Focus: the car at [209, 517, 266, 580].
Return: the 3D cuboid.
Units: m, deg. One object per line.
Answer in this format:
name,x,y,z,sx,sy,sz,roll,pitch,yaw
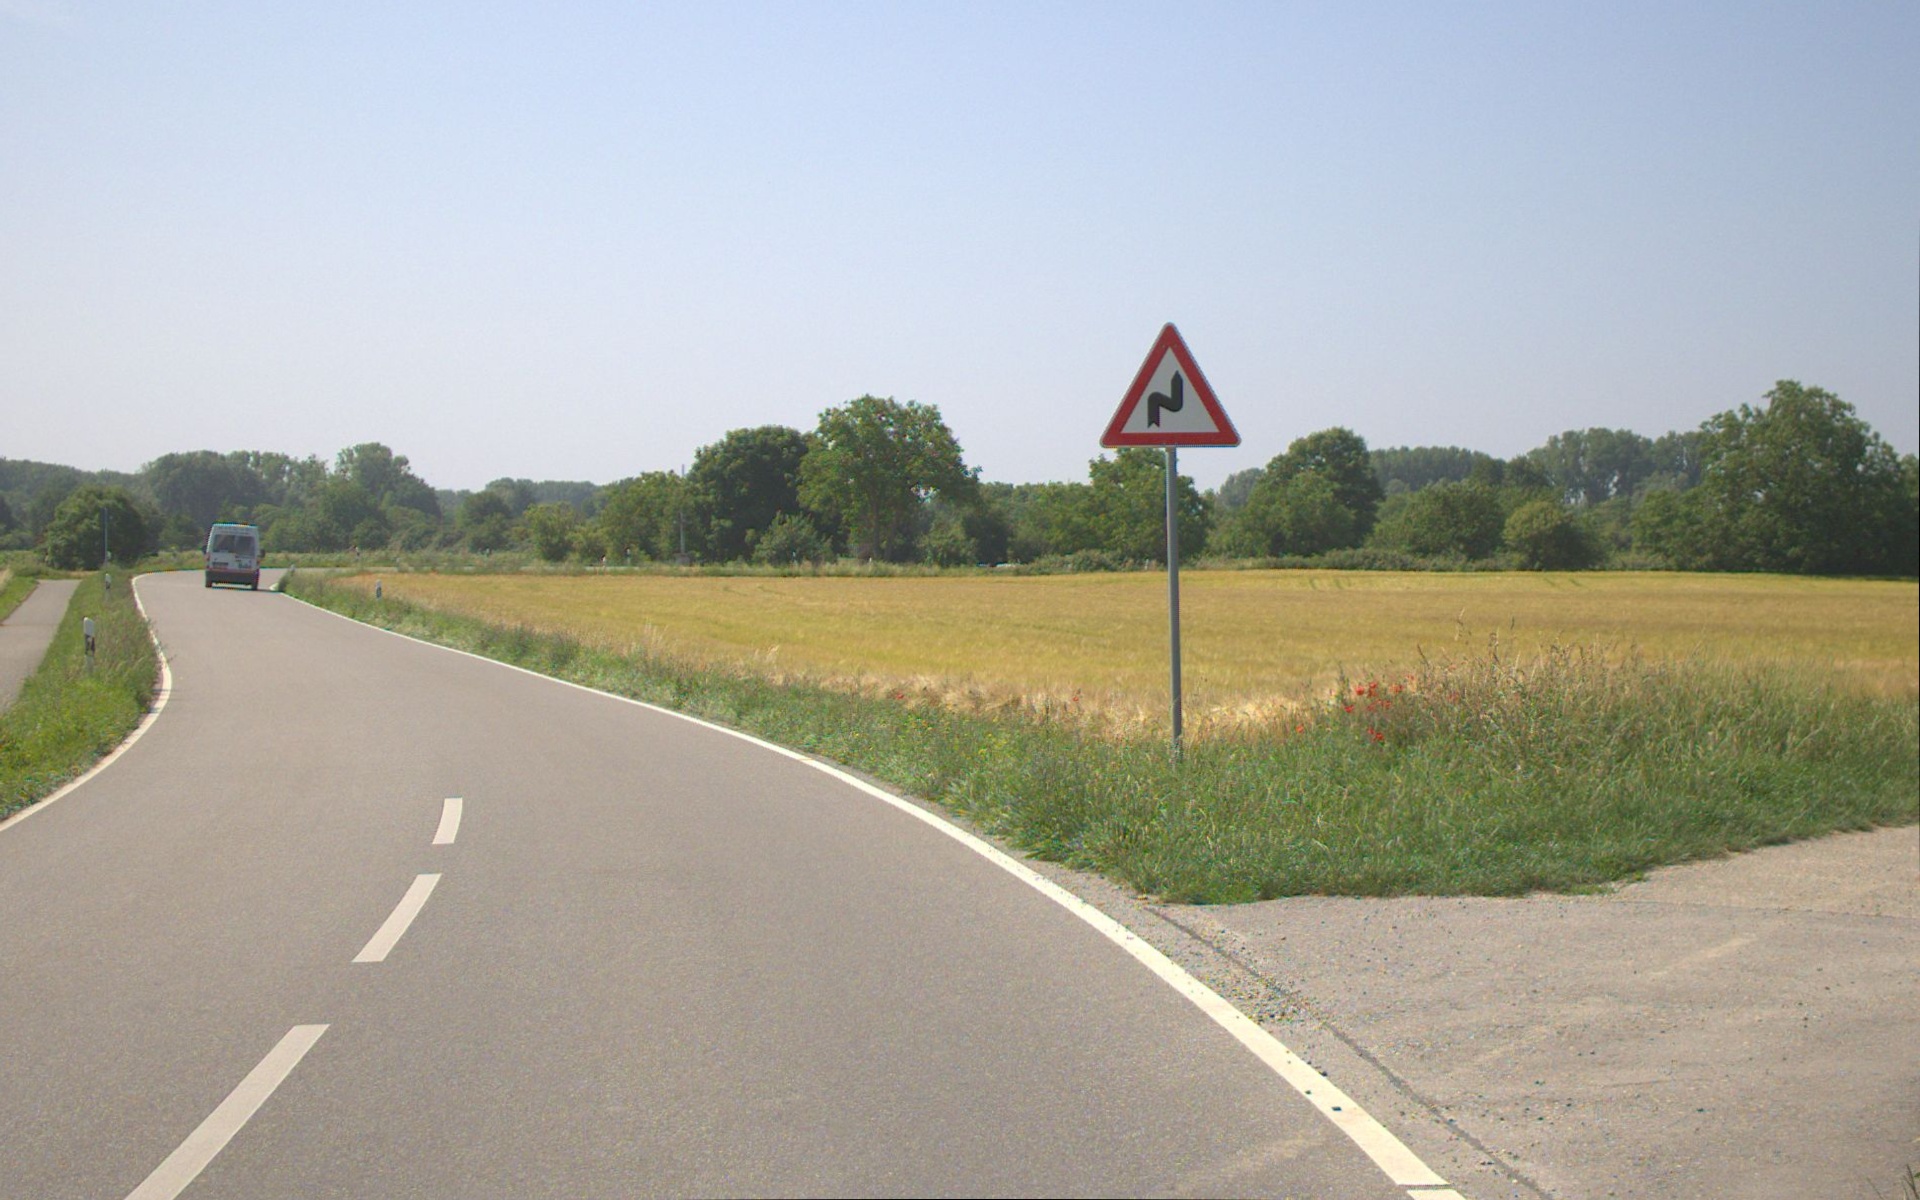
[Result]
car,-28.100,-2.019,133.624,2.103,2.359,5.688,0,1,-13
